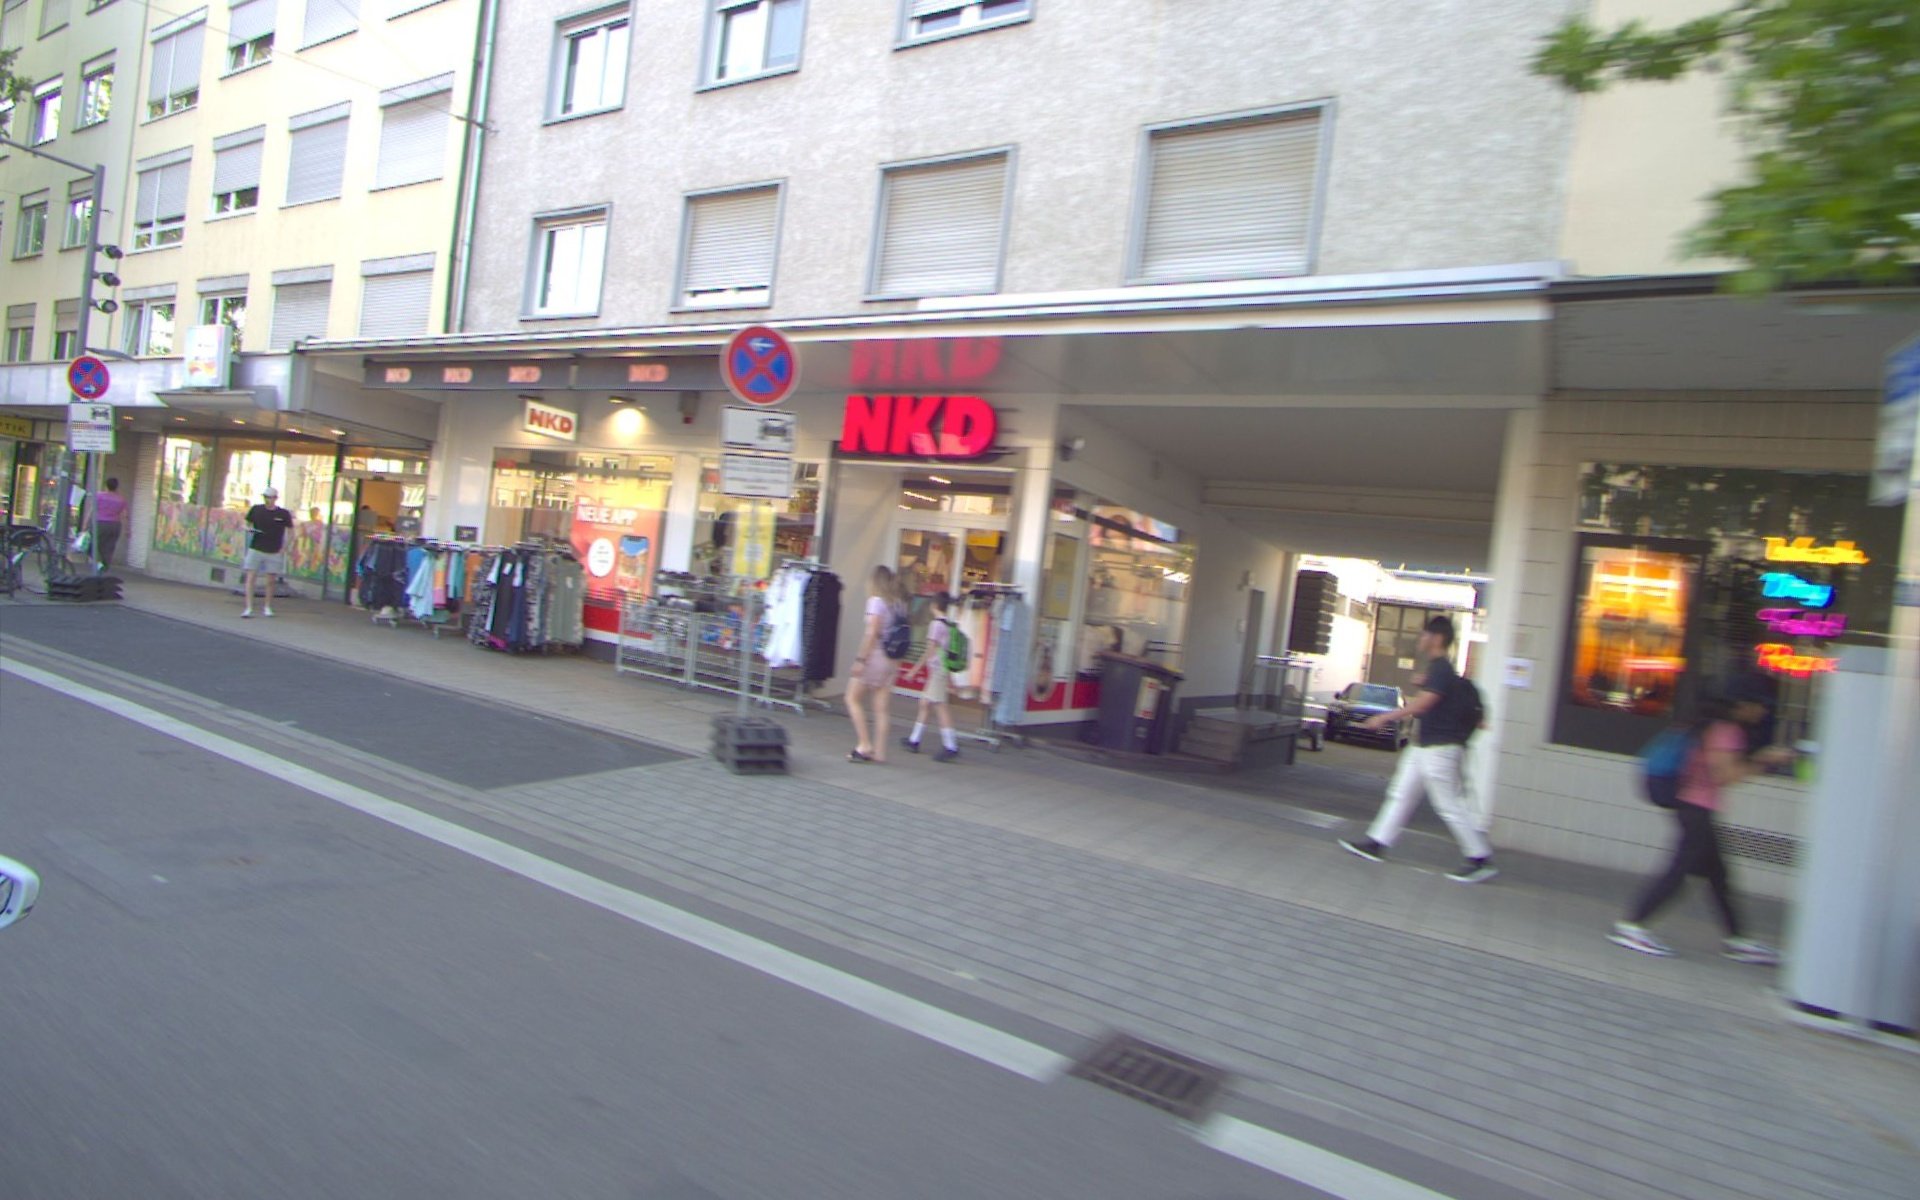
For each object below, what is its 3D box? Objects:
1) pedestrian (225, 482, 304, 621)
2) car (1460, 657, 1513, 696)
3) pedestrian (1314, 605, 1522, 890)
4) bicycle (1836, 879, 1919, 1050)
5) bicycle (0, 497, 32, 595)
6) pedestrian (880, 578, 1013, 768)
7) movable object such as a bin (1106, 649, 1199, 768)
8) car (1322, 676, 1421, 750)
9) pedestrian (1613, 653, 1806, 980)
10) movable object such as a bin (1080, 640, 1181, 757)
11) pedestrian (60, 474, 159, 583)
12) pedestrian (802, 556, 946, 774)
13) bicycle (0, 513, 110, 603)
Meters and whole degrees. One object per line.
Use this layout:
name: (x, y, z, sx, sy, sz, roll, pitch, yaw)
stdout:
pedestrian: (-9.694, -0.679, 14.016, 0.769, 1.825, 0.920, 2, 5, -40)
car: (27.754, 4.045, 52.953, 1.968, 1.658, 3.993, 6, -2, 33)
pedestrian: (3.094, 0.939, 6.814, 1.052, 1.697, 0.568, 7, 3, 32)
bicycle: (4.816, 1.659, 4.039, 1.727, 0.579, 0.839, 7, 1, 8)
bicycle: (-13.786, -0.763, 13.584, 0.684, 1.331, 1.780, 8, 6, 42)
pedestrian: (-0.121, 0.623, 8.910, 0.881, 1.522, 0.541, 8, 3, 31)
movable object such as a bin: (2.299, 1.297, 11.991, 0.757, 1.271, 0.592, 7, -4, 32)
car: (11.130, 2.998, 27.090, 1.797, 1.604, 3.822, 7, -1, 31)
pedestrian: (4.029, 1.119, 5.461, 0.638, 1.589, 0.489, 7, 3, 33)
movable object such as a bin: (1.929, 1.116, 11.323, 0.709, 1.132, 0.770, 9, -4, 32)
pedestrian: (-15.059, -1.264, 17.820, 1.115, 1.786, 0.968, 6, 1, 31)
pedestrian: (-0.719, 0.515, 8.386, 0.881, 1.651, 0.546, 8, 3, 31)
bicycle: (-12.787, -0.602, 13.801, 0.651, 1.141, 1.790, 5, 4, 4)
